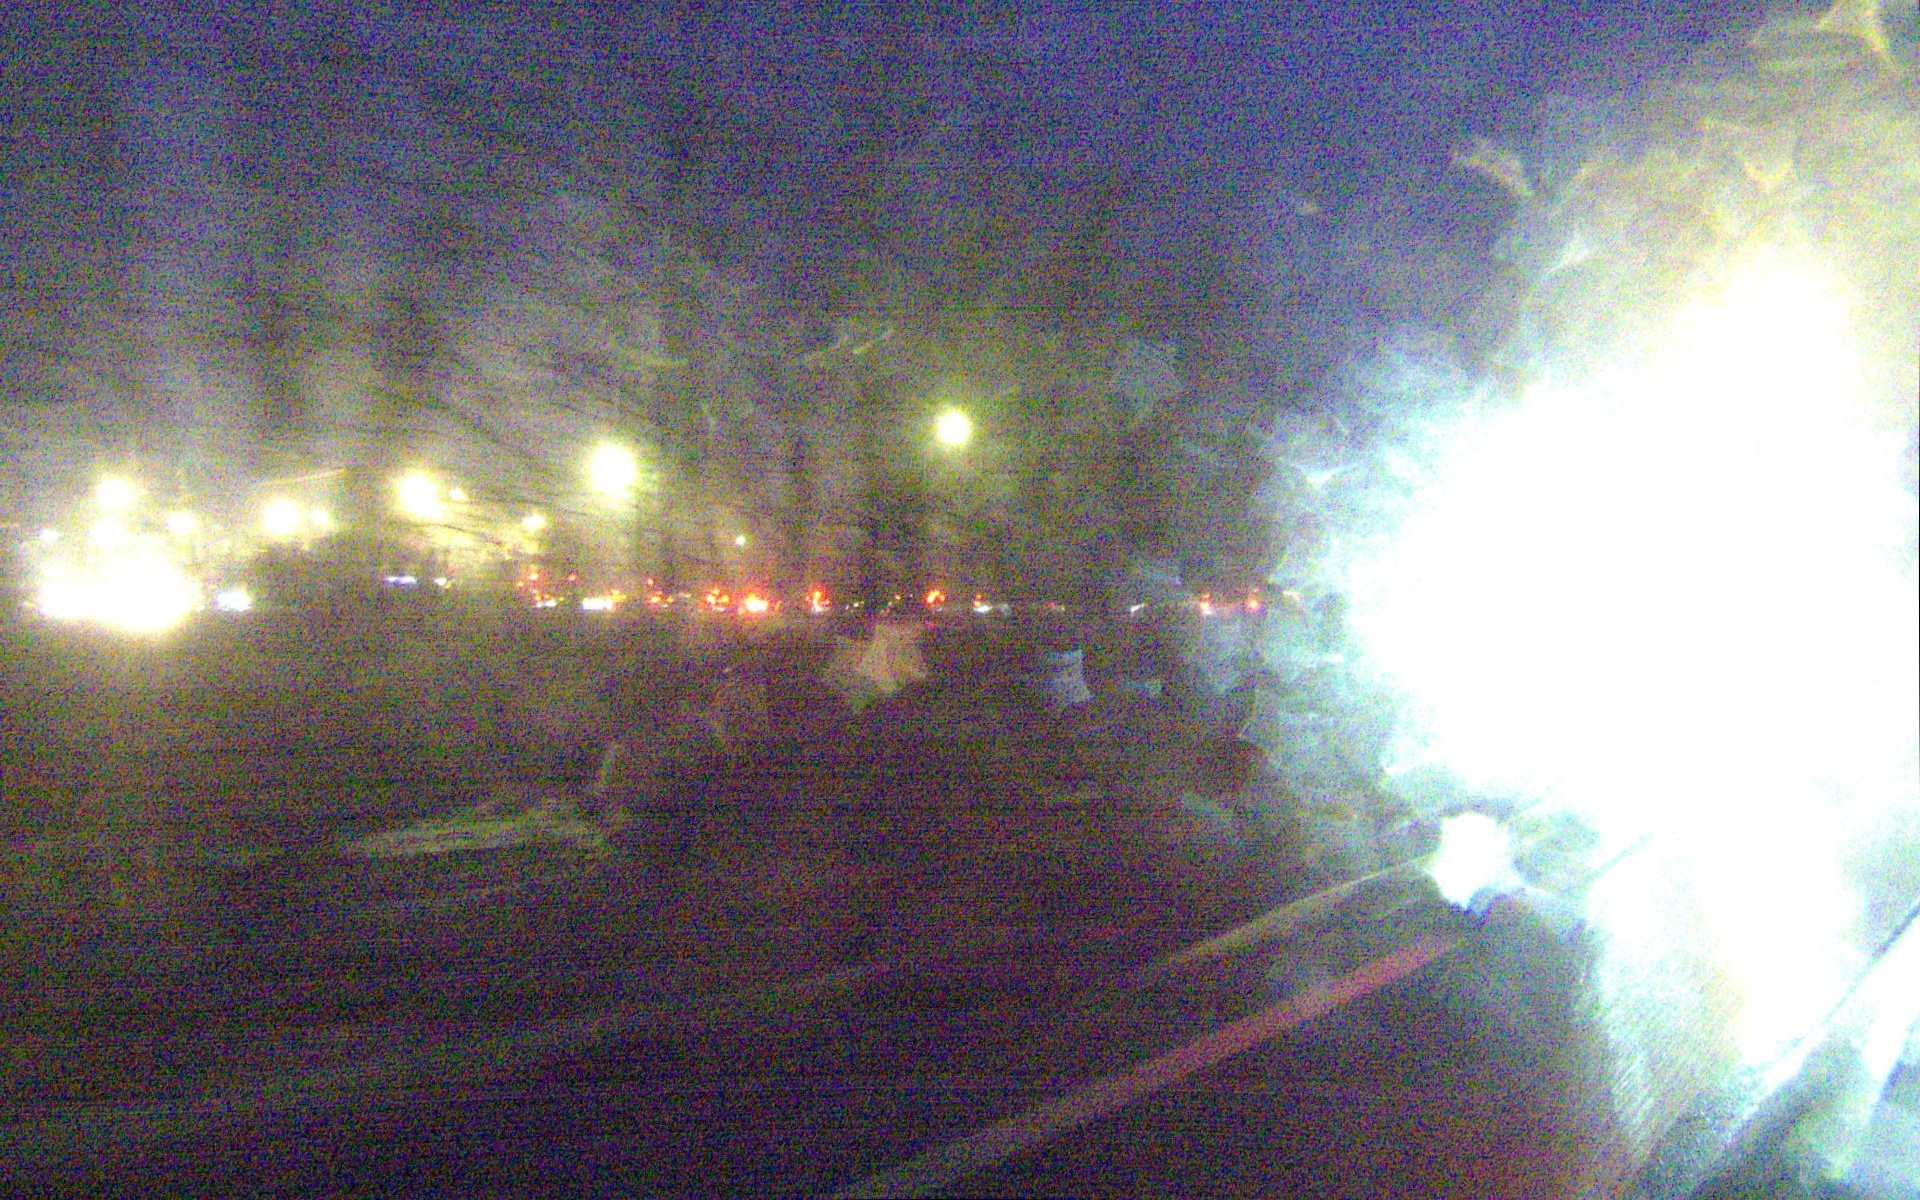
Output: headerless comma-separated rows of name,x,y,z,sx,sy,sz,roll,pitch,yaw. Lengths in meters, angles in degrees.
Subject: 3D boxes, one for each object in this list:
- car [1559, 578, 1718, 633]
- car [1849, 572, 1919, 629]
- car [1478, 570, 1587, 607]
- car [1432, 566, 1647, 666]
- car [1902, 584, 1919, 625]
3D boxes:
car,21.516,0.129,32.208,4.110,1.670,1.808,1,1,36
car,35.635,0.005,37.183,4.327,2.042,1.870,0,1,37
car,23.776,-0.487,42.061,3.794,1.466,1.649,0,1,35
car,12.600,0.277,22.407,1.965,1.949,4.373,-2,1,-4
car,34.645,0.173,33.839,4.428,1.376,1.630,1,1,37
